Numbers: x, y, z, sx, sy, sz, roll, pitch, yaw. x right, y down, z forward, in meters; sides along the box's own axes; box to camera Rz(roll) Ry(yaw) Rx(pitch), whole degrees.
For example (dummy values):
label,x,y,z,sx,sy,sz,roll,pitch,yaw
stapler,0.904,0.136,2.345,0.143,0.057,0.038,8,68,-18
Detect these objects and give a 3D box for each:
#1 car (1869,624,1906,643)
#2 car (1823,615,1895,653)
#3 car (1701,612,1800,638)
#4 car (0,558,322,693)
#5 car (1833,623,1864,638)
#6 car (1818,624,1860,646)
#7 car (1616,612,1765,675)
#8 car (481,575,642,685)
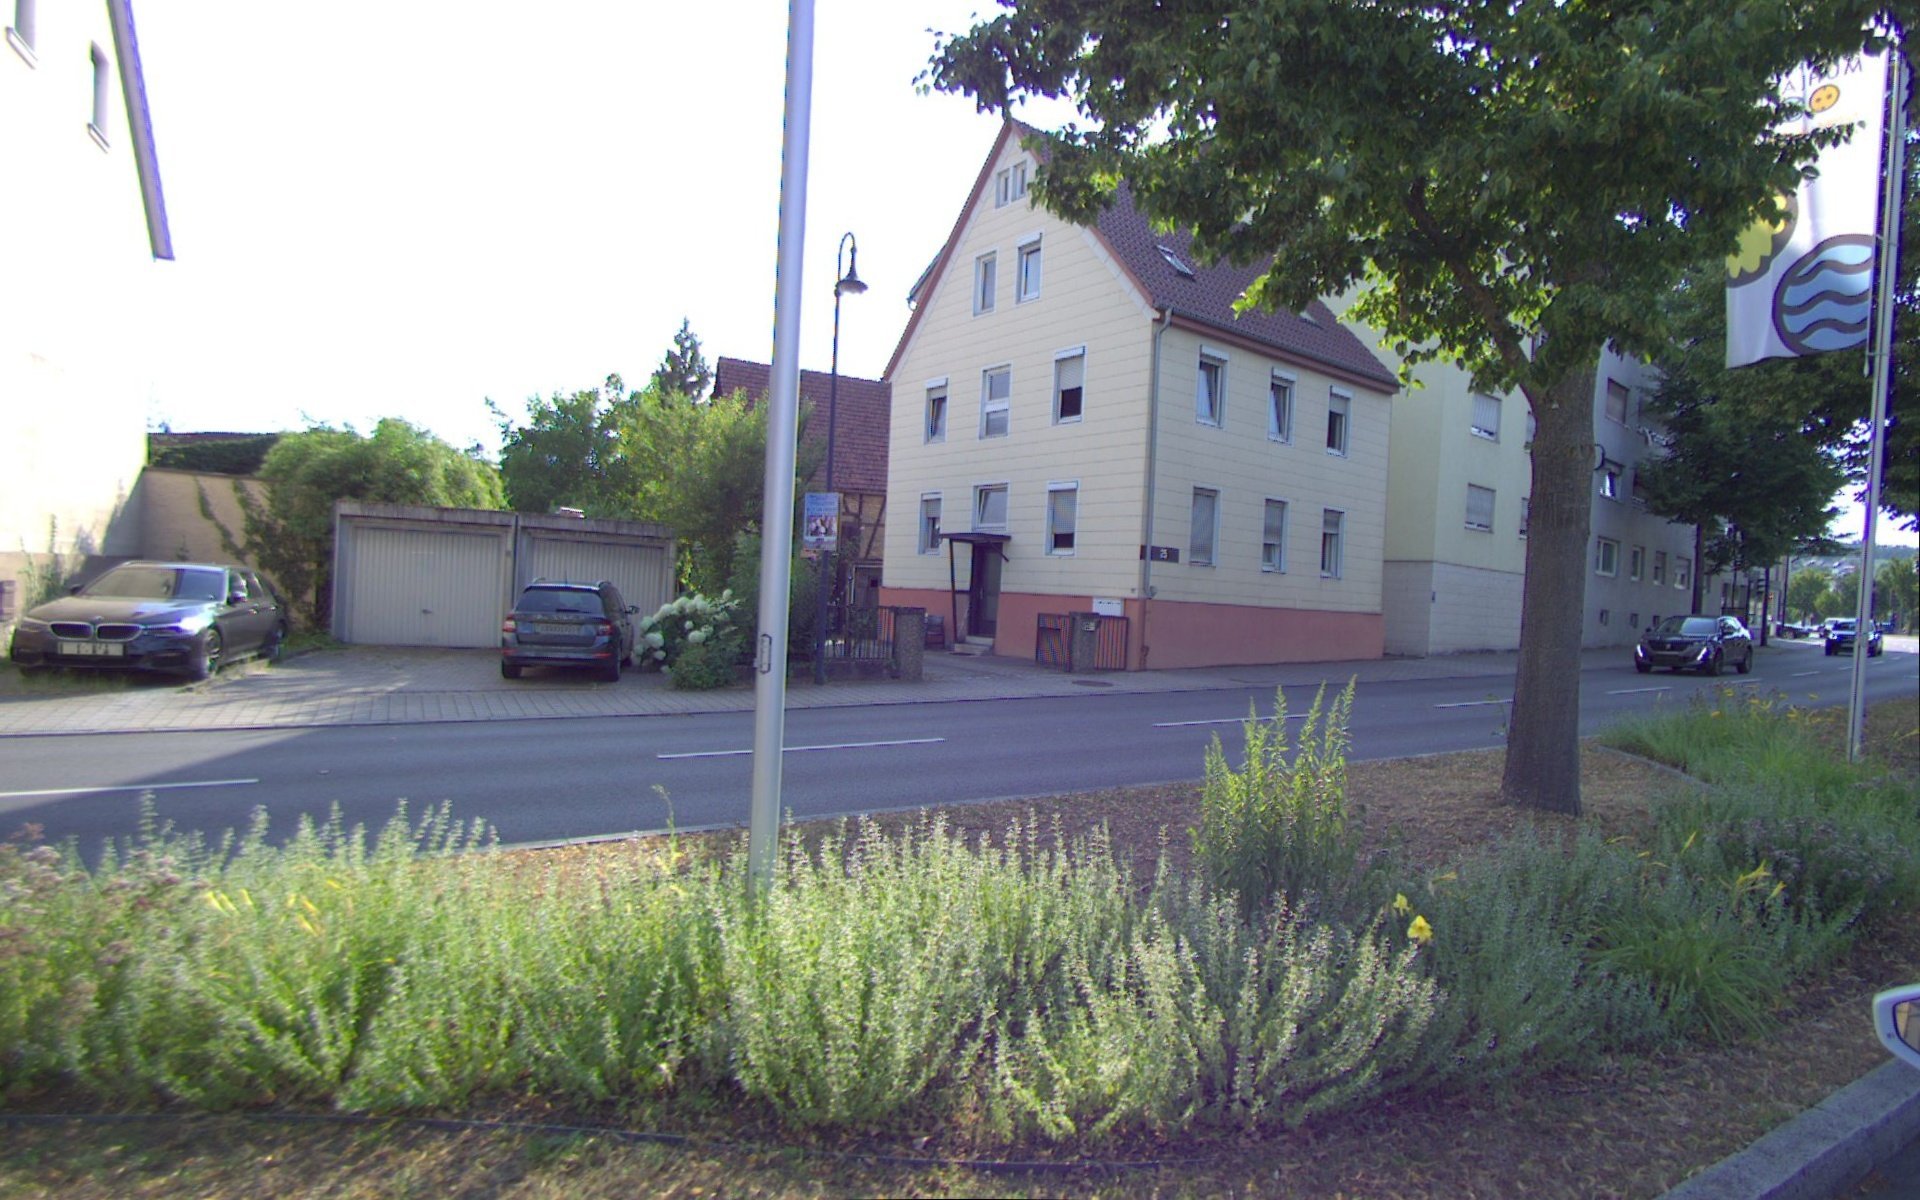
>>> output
label,x,y,z,sx,sy,sz,roll,pitch,yaw
car,102.031,3.688,110.575,2.185,1.883,4.443,2,0,32
car,37.338,1.405,41.702,3.750,1.506,1.593,2,0,-38
car,50.433,1.583,64.162,4.808,1.456,1.905,1,0,45
car,-10.488,0.250,13.582,1.979,1.506,4.344,2,1,-17
car,112.176,3.816,126.901,2.185,1.792,4.443,2,0,32
car,64.719,2.569,74.022,1.828,1.506,4.979,1,0,36
car,19.492,1.124,26.739,4.281,1.506,1.927,2,0,-35
car,-6.260,0.389,16.246,1.914,1.506,4.346,2,1,-15
